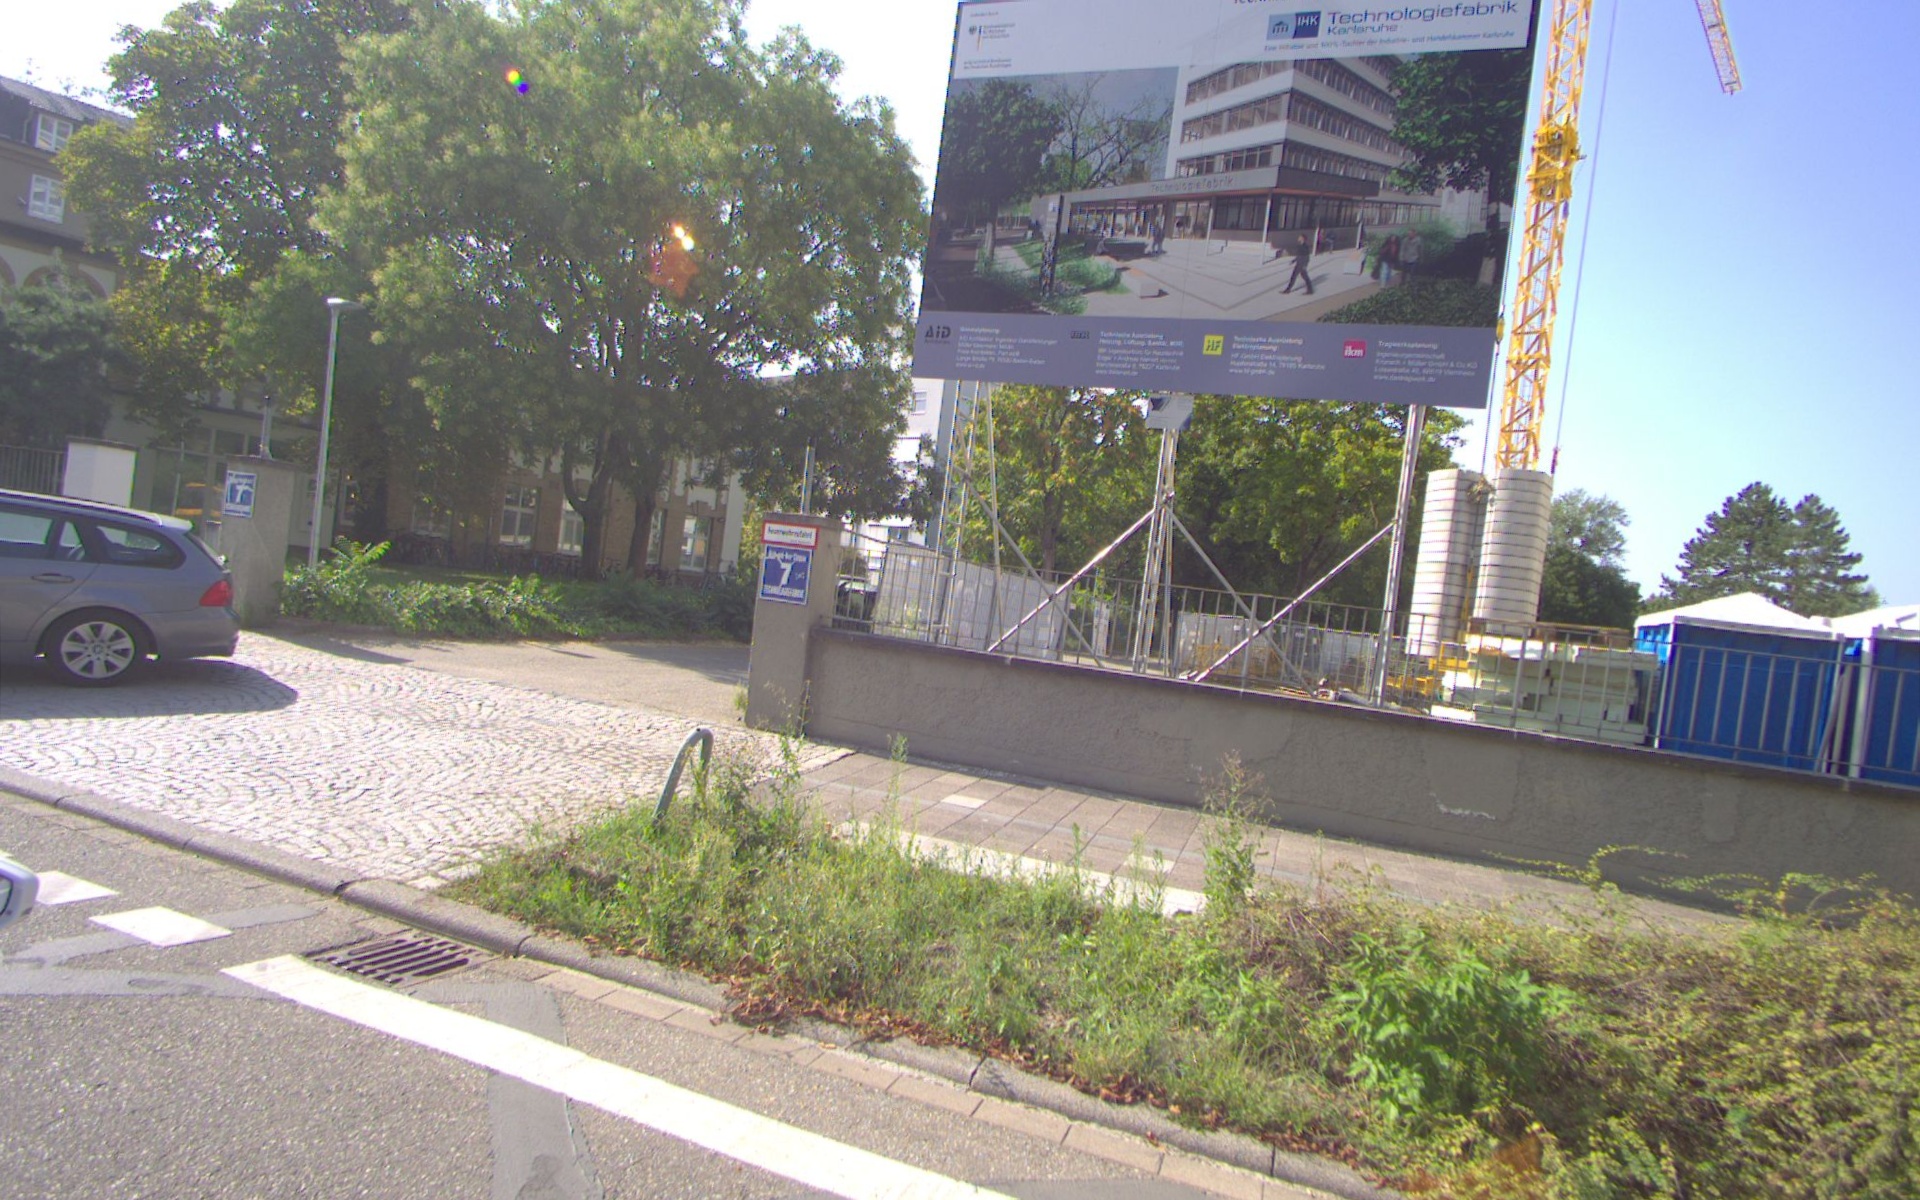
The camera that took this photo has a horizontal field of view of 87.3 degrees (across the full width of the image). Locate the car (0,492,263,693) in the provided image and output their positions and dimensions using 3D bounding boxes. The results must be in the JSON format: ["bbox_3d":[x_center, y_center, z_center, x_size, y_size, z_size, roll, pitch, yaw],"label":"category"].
[{"bbox_3d":[-8.153,-0.209,7.612,1.782,1.427,4.410,7,0,45],"label":"car"}]
